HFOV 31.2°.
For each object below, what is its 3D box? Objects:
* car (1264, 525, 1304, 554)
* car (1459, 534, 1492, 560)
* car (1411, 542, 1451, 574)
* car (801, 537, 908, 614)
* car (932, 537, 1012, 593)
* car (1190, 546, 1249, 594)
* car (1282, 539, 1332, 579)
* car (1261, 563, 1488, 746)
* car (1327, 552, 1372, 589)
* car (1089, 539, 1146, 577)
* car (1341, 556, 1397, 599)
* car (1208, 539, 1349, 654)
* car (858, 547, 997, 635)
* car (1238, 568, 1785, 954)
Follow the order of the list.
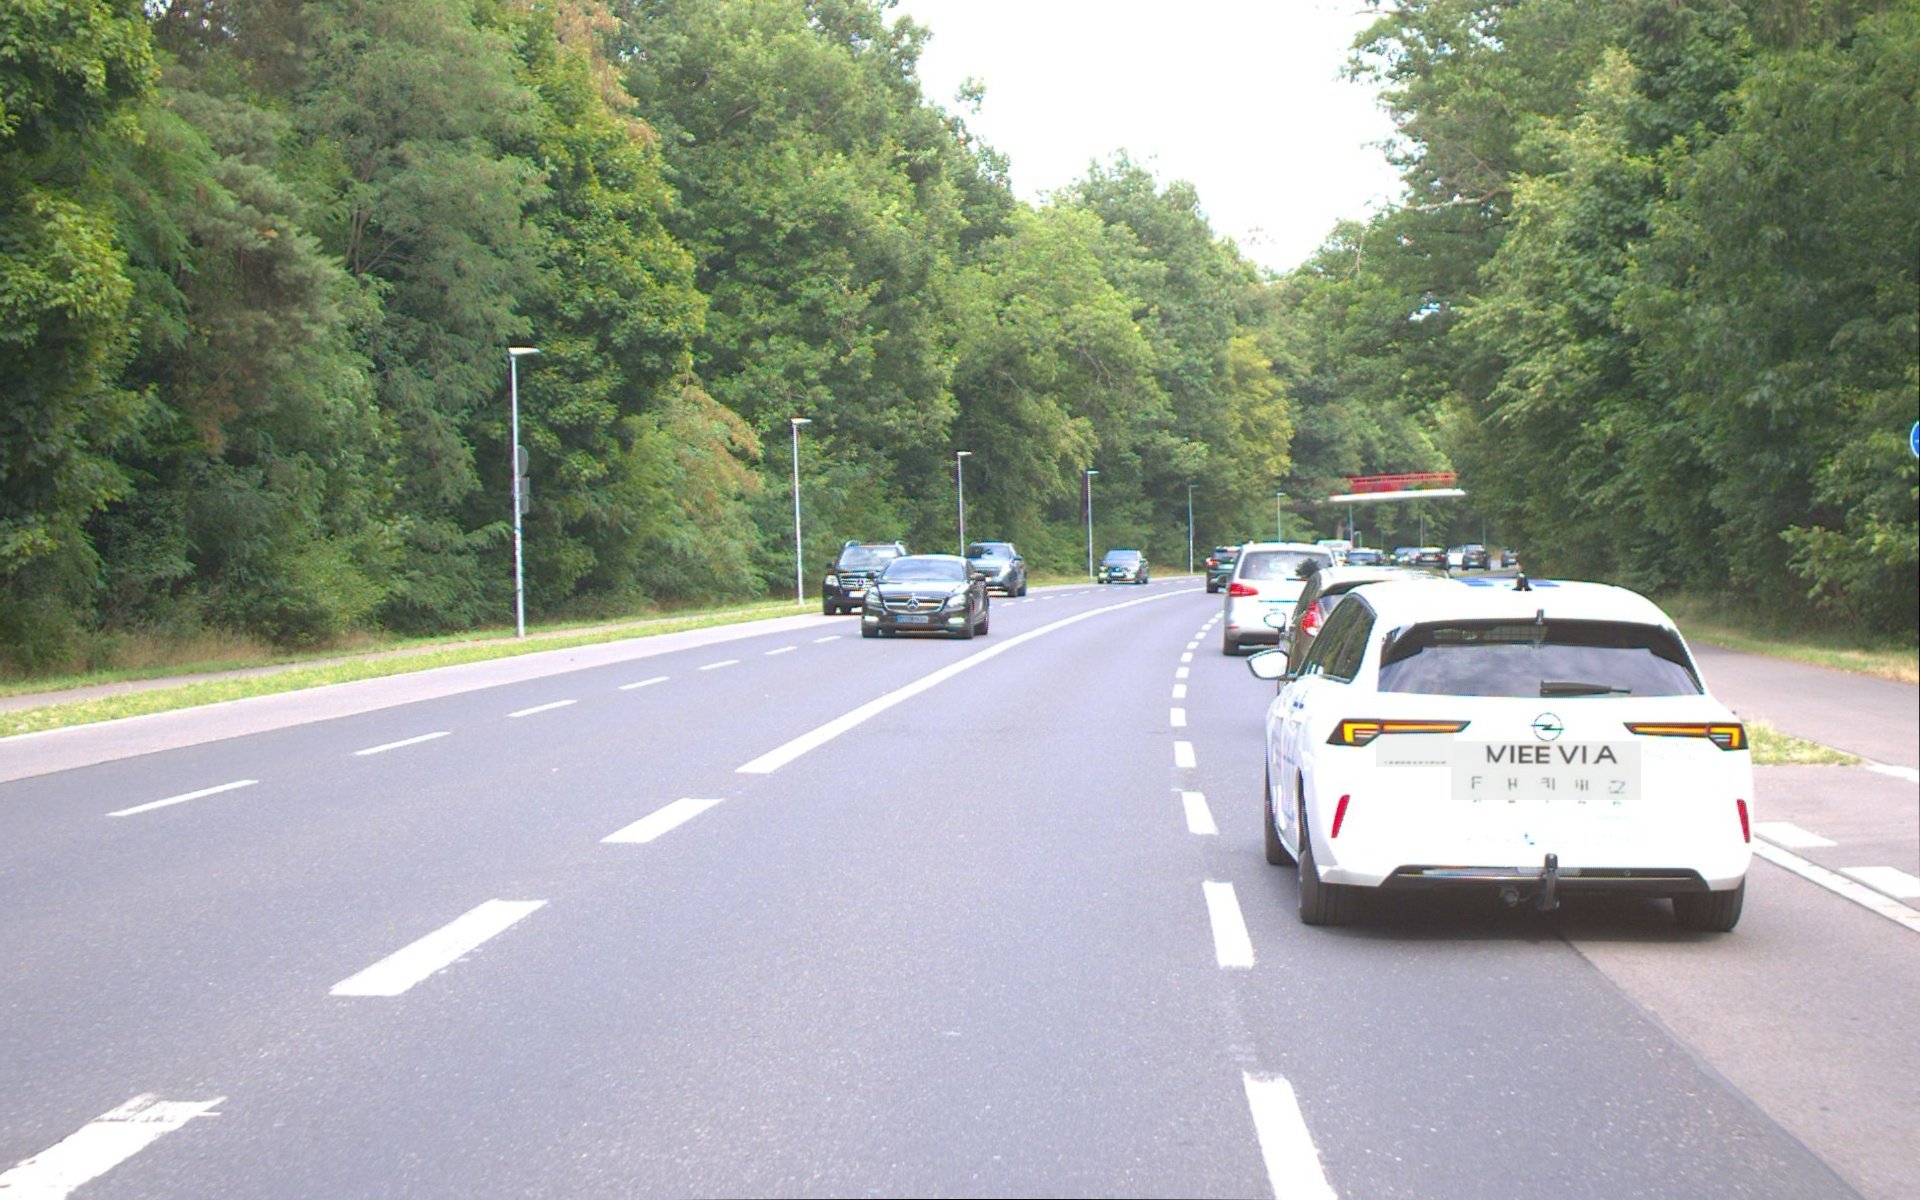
[{"bbox_3d":[19.412,-3.600,205.638,1.994,1.558,4.602,2,0,10],"label":"car"},{"bbox_3d":[34.805,-3.582,232.087,1.994,1.700,3.998,0,1,11],"label":"car"},{"bbox_3d":[27.662,-2.468,201.893,1.995,1.777,3.998,2,0,12],"label":"car"},{"bbox_3d":[-2.346,-0.538,77.585,1.923,1.649,4.469,1,0,4],"label":"car"},{"bbox_3d":[0.398,-1.059,105.425,1.994,1.611,4.663,2,0,5],"label":"car"},{"bbox_3d":[9.016,-1.024,119.116,1.730,1.582,3.998,2,0,8],"label":"car"},{"bbox_3d":[16.296,-1.910,161.485,1.994,1.777,3.998,2,0,10],"label":"car"},{"bbox_3d":[3.510,0.442,29.685,1.635,1.415,3.999,2,0,3],"label":"car"},{"bbox_3d":[20.237,-1.527,178.368,1.994,1.777,3.998,2,0,10],"label":"car"},{"bbox_3d":[6.618,-1.746,143.869,1.897,1.478,4.537,2,0,8],"label":"car"},{"bbox_3d":[18.220,-0.989,152.880,1.995,1.777,3.997,2,0,13],"label":"car"},{"bbox_3d":[4.787,-0.055,52.071,1.994,1.601,3.999,2,0,4],"label":"car"},{"bbox_3d":[-0.513,-0.144,59.097,1.994,1.430,4.720,1,0,4],"label":"car"},{"bbox_3d":[2.255,0.585,15.192,1.836,1.405,4.490,1,1,2],"label":"car"}]
